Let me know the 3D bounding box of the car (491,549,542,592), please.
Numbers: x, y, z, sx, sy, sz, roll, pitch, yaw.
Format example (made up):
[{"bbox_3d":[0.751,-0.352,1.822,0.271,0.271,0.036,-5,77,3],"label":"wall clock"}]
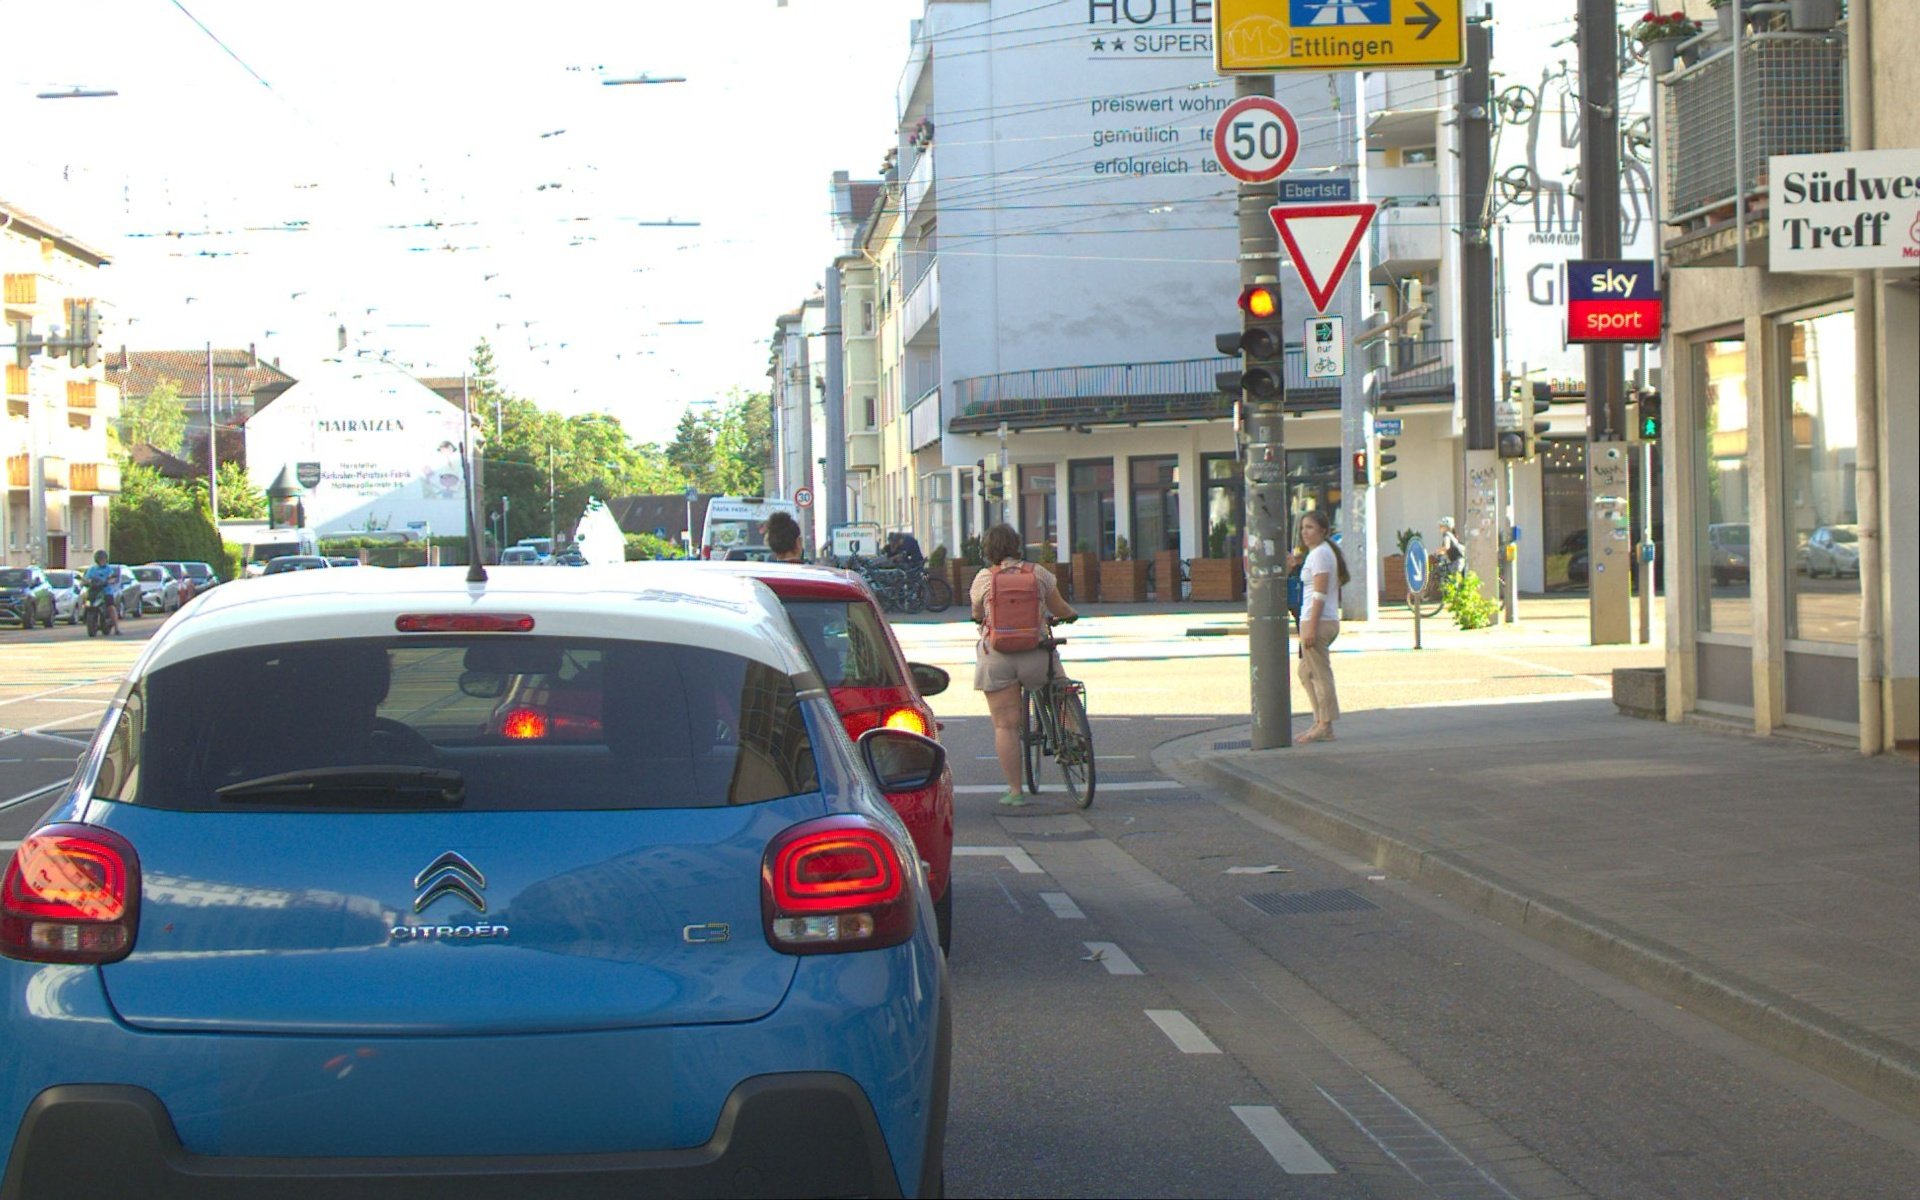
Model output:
[{"bbox_3d":[-22.029,-1.492,170.821,2.338,2.032,5.051,-1,1,-6],"label":"car"}]

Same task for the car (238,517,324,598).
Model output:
[{"bbox_3d":[-23.650,-1.497,119.915,2.493,2.703,5.839,-1,1,-7],"label":"car"}]

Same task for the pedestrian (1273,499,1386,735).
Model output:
[{"bbox_3d":[2.606,0.111,24.287,0.751,1.629,0.740,-1,1,6],"label":"pedestrian"}]

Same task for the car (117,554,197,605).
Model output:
[{"bbox_3d":[-25.348,-0.667,108.637,1.950,1.514,4.001,-1,1,-6],"label":"car"}]

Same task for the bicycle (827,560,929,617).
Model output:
[{"bbox_3d":[-1.599,-0.232,67.098,1.904,1.061,0.642,-1,1,-7],"label":"bicycle"}]

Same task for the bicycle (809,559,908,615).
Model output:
[{"bbox_3d":[-2.018,-0.270,68.291,1.904,1.061,0.642,-1,1,-7],"label":"bicycle"}]

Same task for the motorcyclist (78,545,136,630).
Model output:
[{"bbox_3d":[-16.667,-0.248,67.192,0.991,1.625,0.739,-1,1,-9],"label":"motorcyclist"}]

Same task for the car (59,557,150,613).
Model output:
[{"bbox_3d":[-24.448,-0.453,98.354,1.950,1.514,4.001,-1,1,-6],"label":"car"}]

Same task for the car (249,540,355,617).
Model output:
[{"bbox_3d":[-14.881,-0.518,77.933,2.004,1.622,5.054,-1,1,-7],"label":"car"}]

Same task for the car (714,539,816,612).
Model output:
[{"bbox_3d":[-3.874,-0.511,67.783,1.786,1.354,3.915,-1,1,-6],"label":"car"}]

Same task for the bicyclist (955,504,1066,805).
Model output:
[{"bbox_3d":[0.295,0.306,20.577,0.600,1.740,1.084,-1,1,-1],"label":"bicyclist"}]

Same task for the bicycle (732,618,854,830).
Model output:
[{"bbox_3d":[-0.973,0.682,19.727,0.616,1.099,1.886,-1,1,-5],"label":"bicycle"}]

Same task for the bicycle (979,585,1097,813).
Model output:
[{"bbox_3d":[0.452,0.562,20.620,0.613,1.260,1.911,-1,1,-1],"label":"bicycle"}]

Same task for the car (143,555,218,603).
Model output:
[{"bbox_3d":[-26.057,-0.715,114.979,1.950,1.514,4.001,-1,1,-6],"label":"car"}]

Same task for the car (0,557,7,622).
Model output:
[{"bbox_3d":[-23.312,-0.190,79.205,1.950,1.514,4.001,-1,1,-6],"label":"car"}]

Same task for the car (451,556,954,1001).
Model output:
[{"bbox_3d":[-1.002,0.579,13.563,1.680,1.457,4.001,0,1,-4],"label":"car"}]

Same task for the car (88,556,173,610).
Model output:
[{"bbox_3d":[-24.915,-0.536,103.358,1.950,1.514,4.001,-1,1,-6],"label":"car"}]

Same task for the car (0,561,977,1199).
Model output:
[{"bbox_3d":[-0.956,0.670,7.353,1.680,1.457,4.001,0,1,-4],"label":"car"}]

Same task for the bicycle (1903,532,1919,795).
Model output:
[{"bbox_3d":[4.918,0.315,15.731,0.640,1.260,1.911,-1,1,-1],"label":"bicycle"}]

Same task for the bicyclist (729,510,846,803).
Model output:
[{"bbox_3d":[-0.991,0.308,19.617,0.616,1.624,0.760,-1,1,-4],"label":"bicyclist"}]

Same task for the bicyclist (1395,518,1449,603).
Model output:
[{"bbox_3d":[7.980,-0.683,59.343,0.728,1.429,0.605,-1,1,28],"label":"bicyclist"}]

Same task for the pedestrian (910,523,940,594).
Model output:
[{"bbox_3d":[-0.712,-0.844,69.985,0.467,1.415,0.527,-1,1,-13],"label":"pedestrian"}]

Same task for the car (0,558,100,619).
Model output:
[{"bbox_3d":[-24.296,-0.331,91.927,1.950,1.514,4.001,-1,1,-6],"label":"car"}]

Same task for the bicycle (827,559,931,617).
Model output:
[{"bbox_3d":[-1.550,-0.238,65.793,1.904,1.061,0.642,-1,1,-7],"label":"bicycle"}]

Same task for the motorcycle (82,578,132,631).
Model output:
[{"bbox_3d":[-16.686,0.077,67.266,0.751,0.973,2.098,-1,1,-9],"label":"motorcycle"}]

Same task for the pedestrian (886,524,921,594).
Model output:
[{"bbox_3d":[-1.145,-0.841,70.236,0.525,1.415,0.546,-1,1,20],"label":"pedestrian"}]

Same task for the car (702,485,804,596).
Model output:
[{"bbox_3d":[-4.424,-1.273,73.219,2.079,2.262,5.652,0,1,-4],"label":"car"}]

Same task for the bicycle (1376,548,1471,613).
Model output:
[{"bbox_3d":[7.995,-0.333,59.308,1.491,1.087,0.605,-1,1,28],"label":"bicycle"}]

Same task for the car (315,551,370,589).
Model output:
[{"bbox_3d":[-25.963,-1.273,144.549,1.950,1.514,4.001,-1,1,-6],"label":"car"}]

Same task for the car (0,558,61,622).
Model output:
[{"bbox_3d":[-23.776,-0.263,85.869,1.950,1.514,4.001,-1,1,-6],"label":"car"}]
